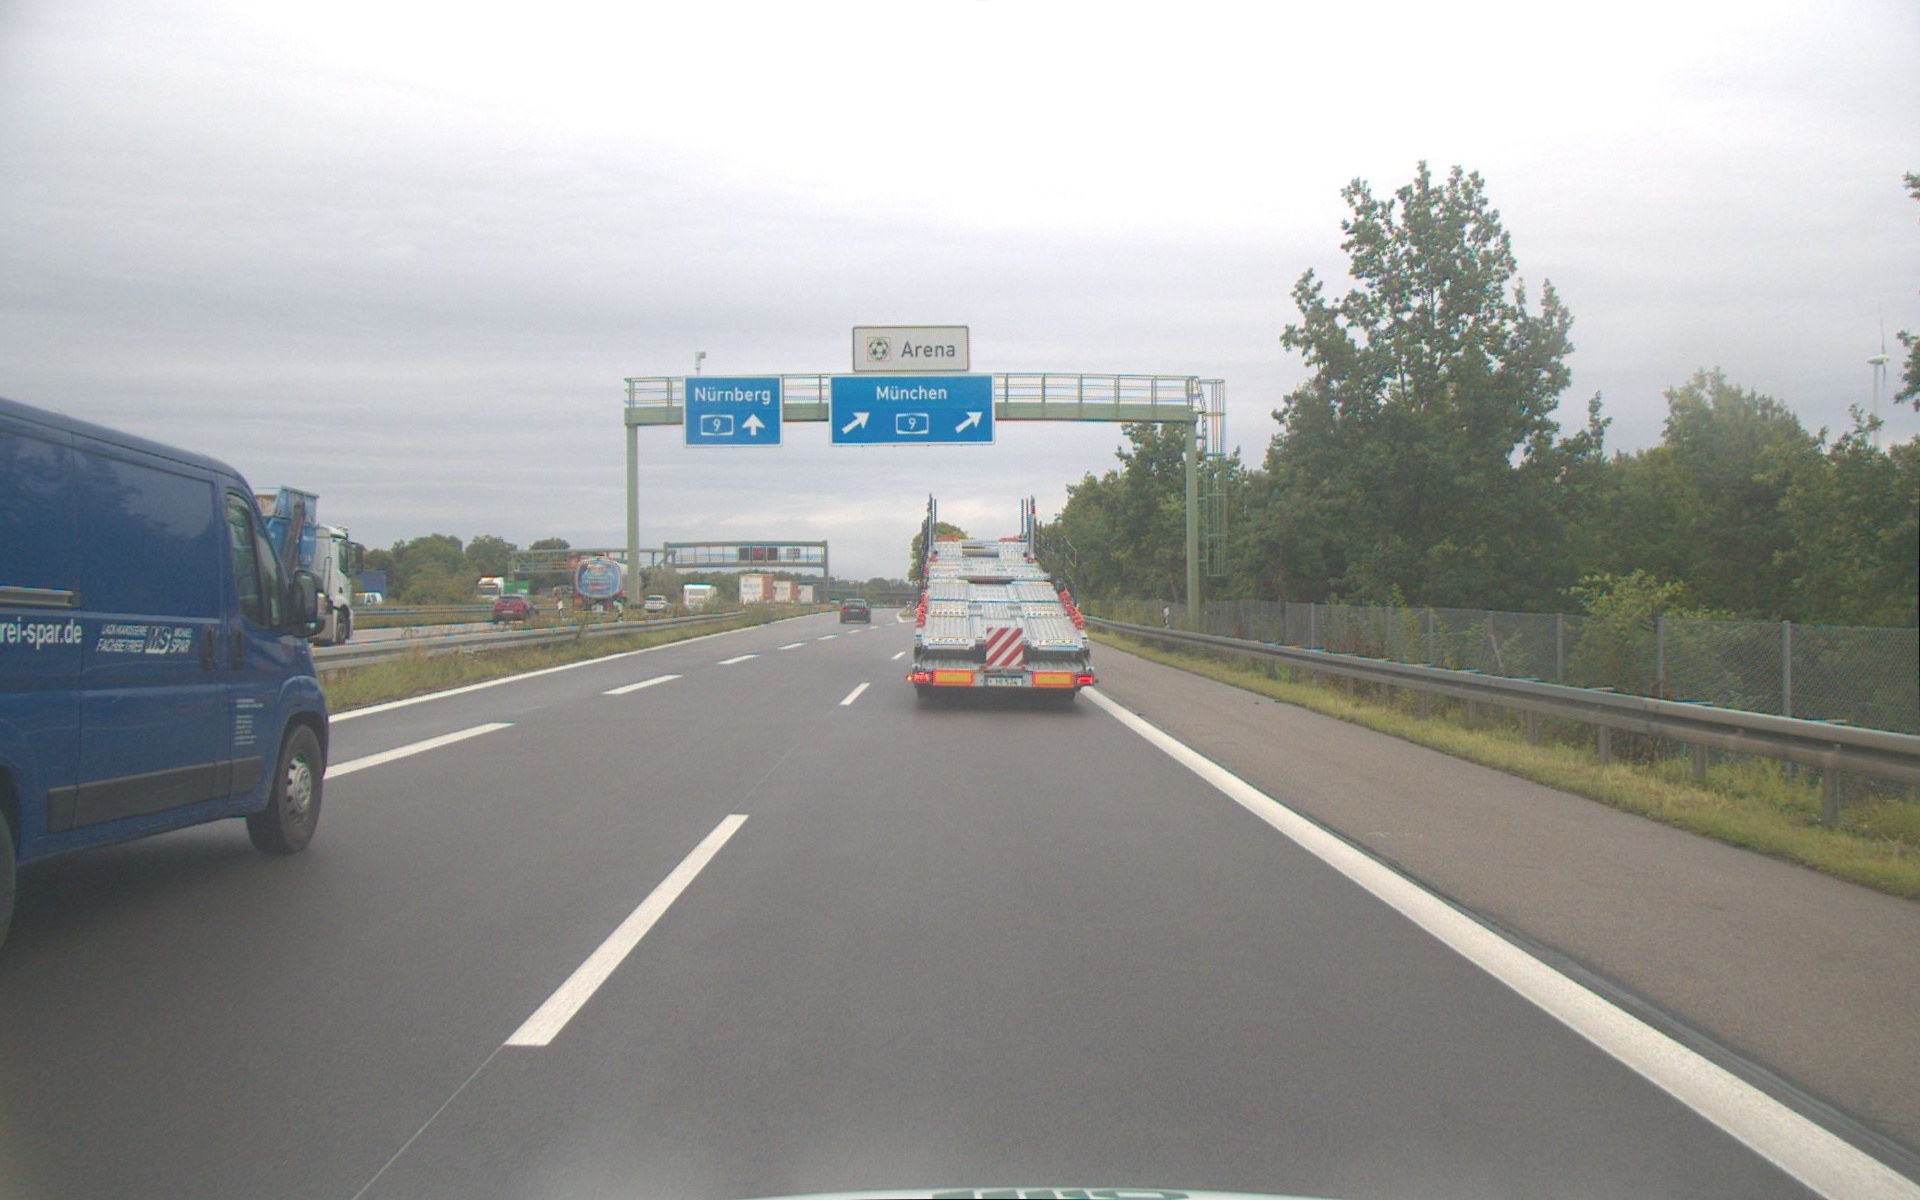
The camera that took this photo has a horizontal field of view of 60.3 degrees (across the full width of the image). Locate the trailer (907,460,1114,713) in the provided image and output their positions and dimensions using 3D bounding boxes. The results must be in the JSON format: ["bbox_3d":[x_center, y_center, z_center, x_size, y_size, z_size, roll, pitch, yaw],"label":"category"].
[{"bbox_3d":[0.621,-0.182,27.355,2.721,3.342,10.405,1,0,-1],"label":"trailer"}]

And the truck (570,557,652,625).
[{"bbox_3d":[-18.605,-0.465,88.722,2.799,3.424,8.627,1,0,-2],"label":"truck"}]

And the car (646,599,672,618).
[{"bbox_3d":[-24.818,0.686,136.446,1.649,1.557,3.996,1,0,-4],"label":"car"}]

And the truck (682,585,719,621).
[{"bbox_3d":[-20.782,0.236,132.690,2.198,2.751,5.277,1,0,-2],"label":"truck"}]

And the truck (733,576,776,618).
[{"bbox_3d":[-22.469,-0.320,181.646,3.658,4.494,10.191,1,0,-2],"label":"truck"}]

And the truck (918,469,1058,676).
[{"bbox_3d":[0.442,-0.552,37.131,2.683,4.037,9.126,1,0,-1],"label":"truck"}]

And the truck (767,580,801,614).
[{"bbox_3d":[-24.112,-0.363,227.437,3.658,4.494,11.892,1,0,-2],"label":"truck"}]

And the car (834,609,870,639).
[{"bbox_3d":[-6.373,1.410,98.421,1.922,1.666,5.622,1,-1,-2],"label":"car"}]

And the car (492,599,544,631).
[{"bbox_3d":[-22.885,0.789,85.728,1.758,1.584,3.824,1,-1,-2],"label":"car"}]

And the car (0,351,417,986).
[{"bbox_3d":[-4.716,0.235,7.929,2.325,2.306,6.253,1,0,-2],"label":"car"}]

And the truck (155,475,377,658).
[{"bbox_3d":[-16.206,-0.677,39.238,2.586,3.879,7.336,1,-1,-5],"label":"truck"}]
